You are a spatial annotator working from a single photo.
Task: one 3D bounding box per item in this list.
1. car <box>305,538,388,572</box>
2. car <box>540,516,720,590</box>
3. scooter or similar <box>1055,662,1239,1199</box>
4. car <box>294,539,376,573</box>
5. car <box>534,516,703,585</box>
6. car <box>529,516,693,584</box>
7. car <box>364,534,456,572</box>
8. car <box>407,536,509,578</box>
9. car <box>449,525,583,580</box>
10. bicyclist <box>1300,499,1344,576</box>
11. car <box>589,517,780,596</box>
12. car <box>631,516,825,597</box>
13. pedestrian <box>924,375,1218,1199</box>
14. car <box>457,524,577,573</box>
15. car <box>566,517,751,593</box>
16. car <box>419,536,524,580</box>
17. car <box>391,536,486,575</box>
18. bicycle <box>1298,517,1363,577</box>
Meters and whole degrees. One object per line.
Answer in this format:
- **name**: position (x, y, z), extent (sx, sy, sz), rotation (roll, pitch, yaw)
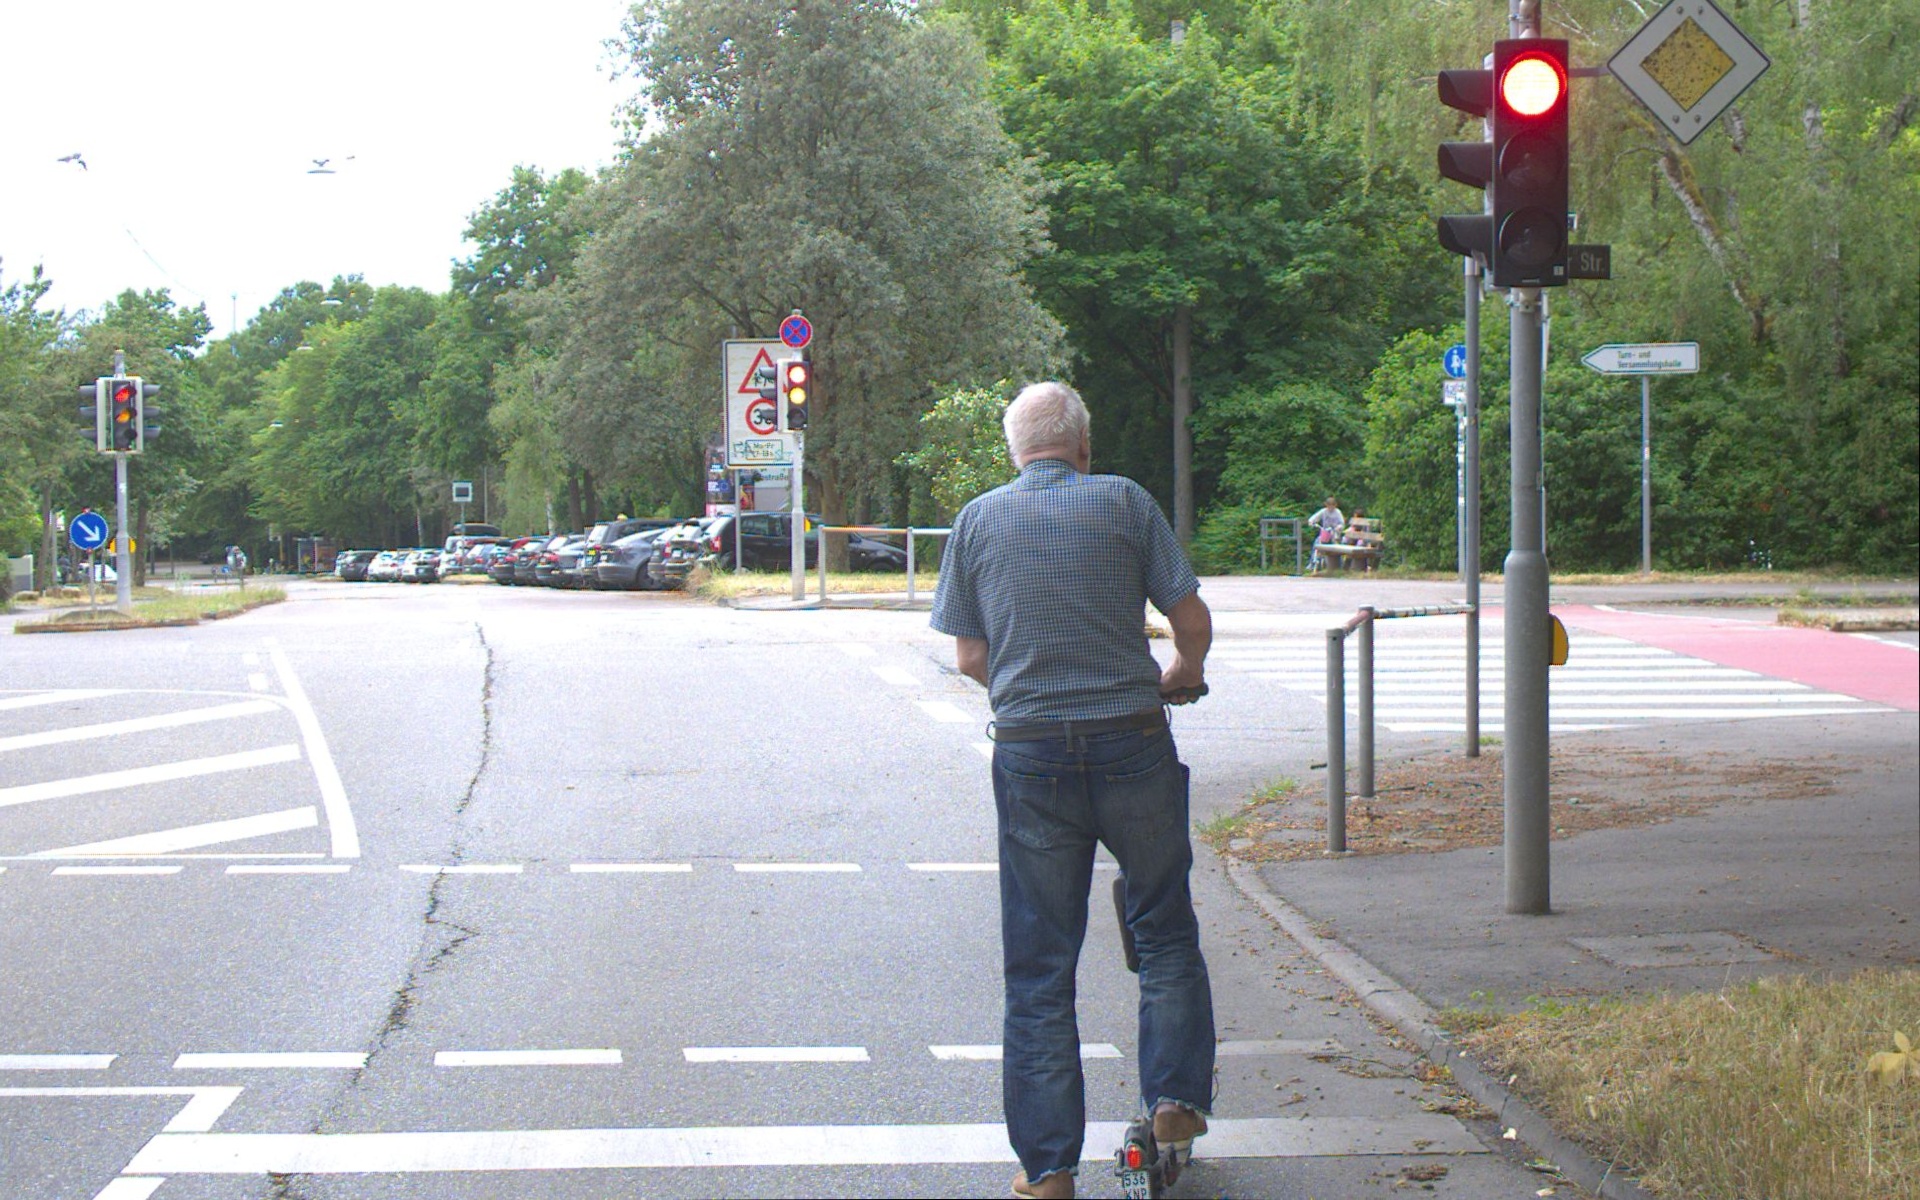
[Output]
- **car**: position (-31.335, -2.295, 175.640), extent (3.840, 1.605, 1.729), rotation (-3, 2, -23)
- **car**: position (-7.817, -1.124, 81.343), extent (3.840, 1.605, 1.729), rotation (-3, 2, -23)
- **scooter or similar**: position (0.418, 0.750, 7.405), extent (0.282, 1.174, 1.177), rotation (-1, 1, 8)
- **car**: position (-32.357, -2.267, 177.979), extent (3.840, 1.605, 1.729), rotation (-3, 2, -23)
- **car**: position (-8.604, -1.257, 86.656), extent (3.840, 1.605, 1.729), rotation (-3, 2, -23)
- **car**: position (-9.044, -1.303, 89.068), extent (3.840, 1.605, 1.729), rotation (-3, 2, -23)
- **car**: position (-25.397, -2.177, 158.779), extent (3.840, 1.605, 1.729), rotation (-3, 2, -23)
- **car**: position (-20.858, -1.794, 142.774), extent (3.840, 1.605, 1.729), rotation (-3, 2, -23)
- **car**: position (-14.059, -1.512, 108.931), extent (3.840, 1.605, 1.729), rotation (-3, 2, -23)
- **bicyclist**: position (5.928, -1.021, 56.267), extent (0.493, 1.244, 0.678), rotation (2, 1, 24)
- **car**: position (-6.152, -0.993, 76.767), extent (3.841, 1.605, 1.728), rotation (-3, 2, -24)
- **car**: position (-5.051, -0.962, 74.797), extent (3.840, 1.605, 1.729), rotation (-2, 2, -21)
- **pedestrian**: position (0.253, 0.424, 7.575), extent (0.573, 1.807, 0.420), rotation (-1, 1, 8)
- **car**: position (-15.707, -1.823, 121.898), extent (3.840, 1.605, 1.729), rotation (-3, 2, -23)
- **car**: position (-6.954, -1.045, 79.309), extent (3.840, 1.605, 1.729), rotation (-3, 2, -23)
- **car**: position (-19.753, -1.715, 139.099), extent (3.840, 1.605, 1.729), rotation (-3, 2, -23)
- **car**: position (-23.381, -2.019, 154.077), extent (3.840, 1.605, 1.729), rotation (-3, 2, -23)
- **bicycle**: position (6.119, -0.863, 56.719), extent (0.493, 0.955, 1.924), rotation (2, 1, 24)
